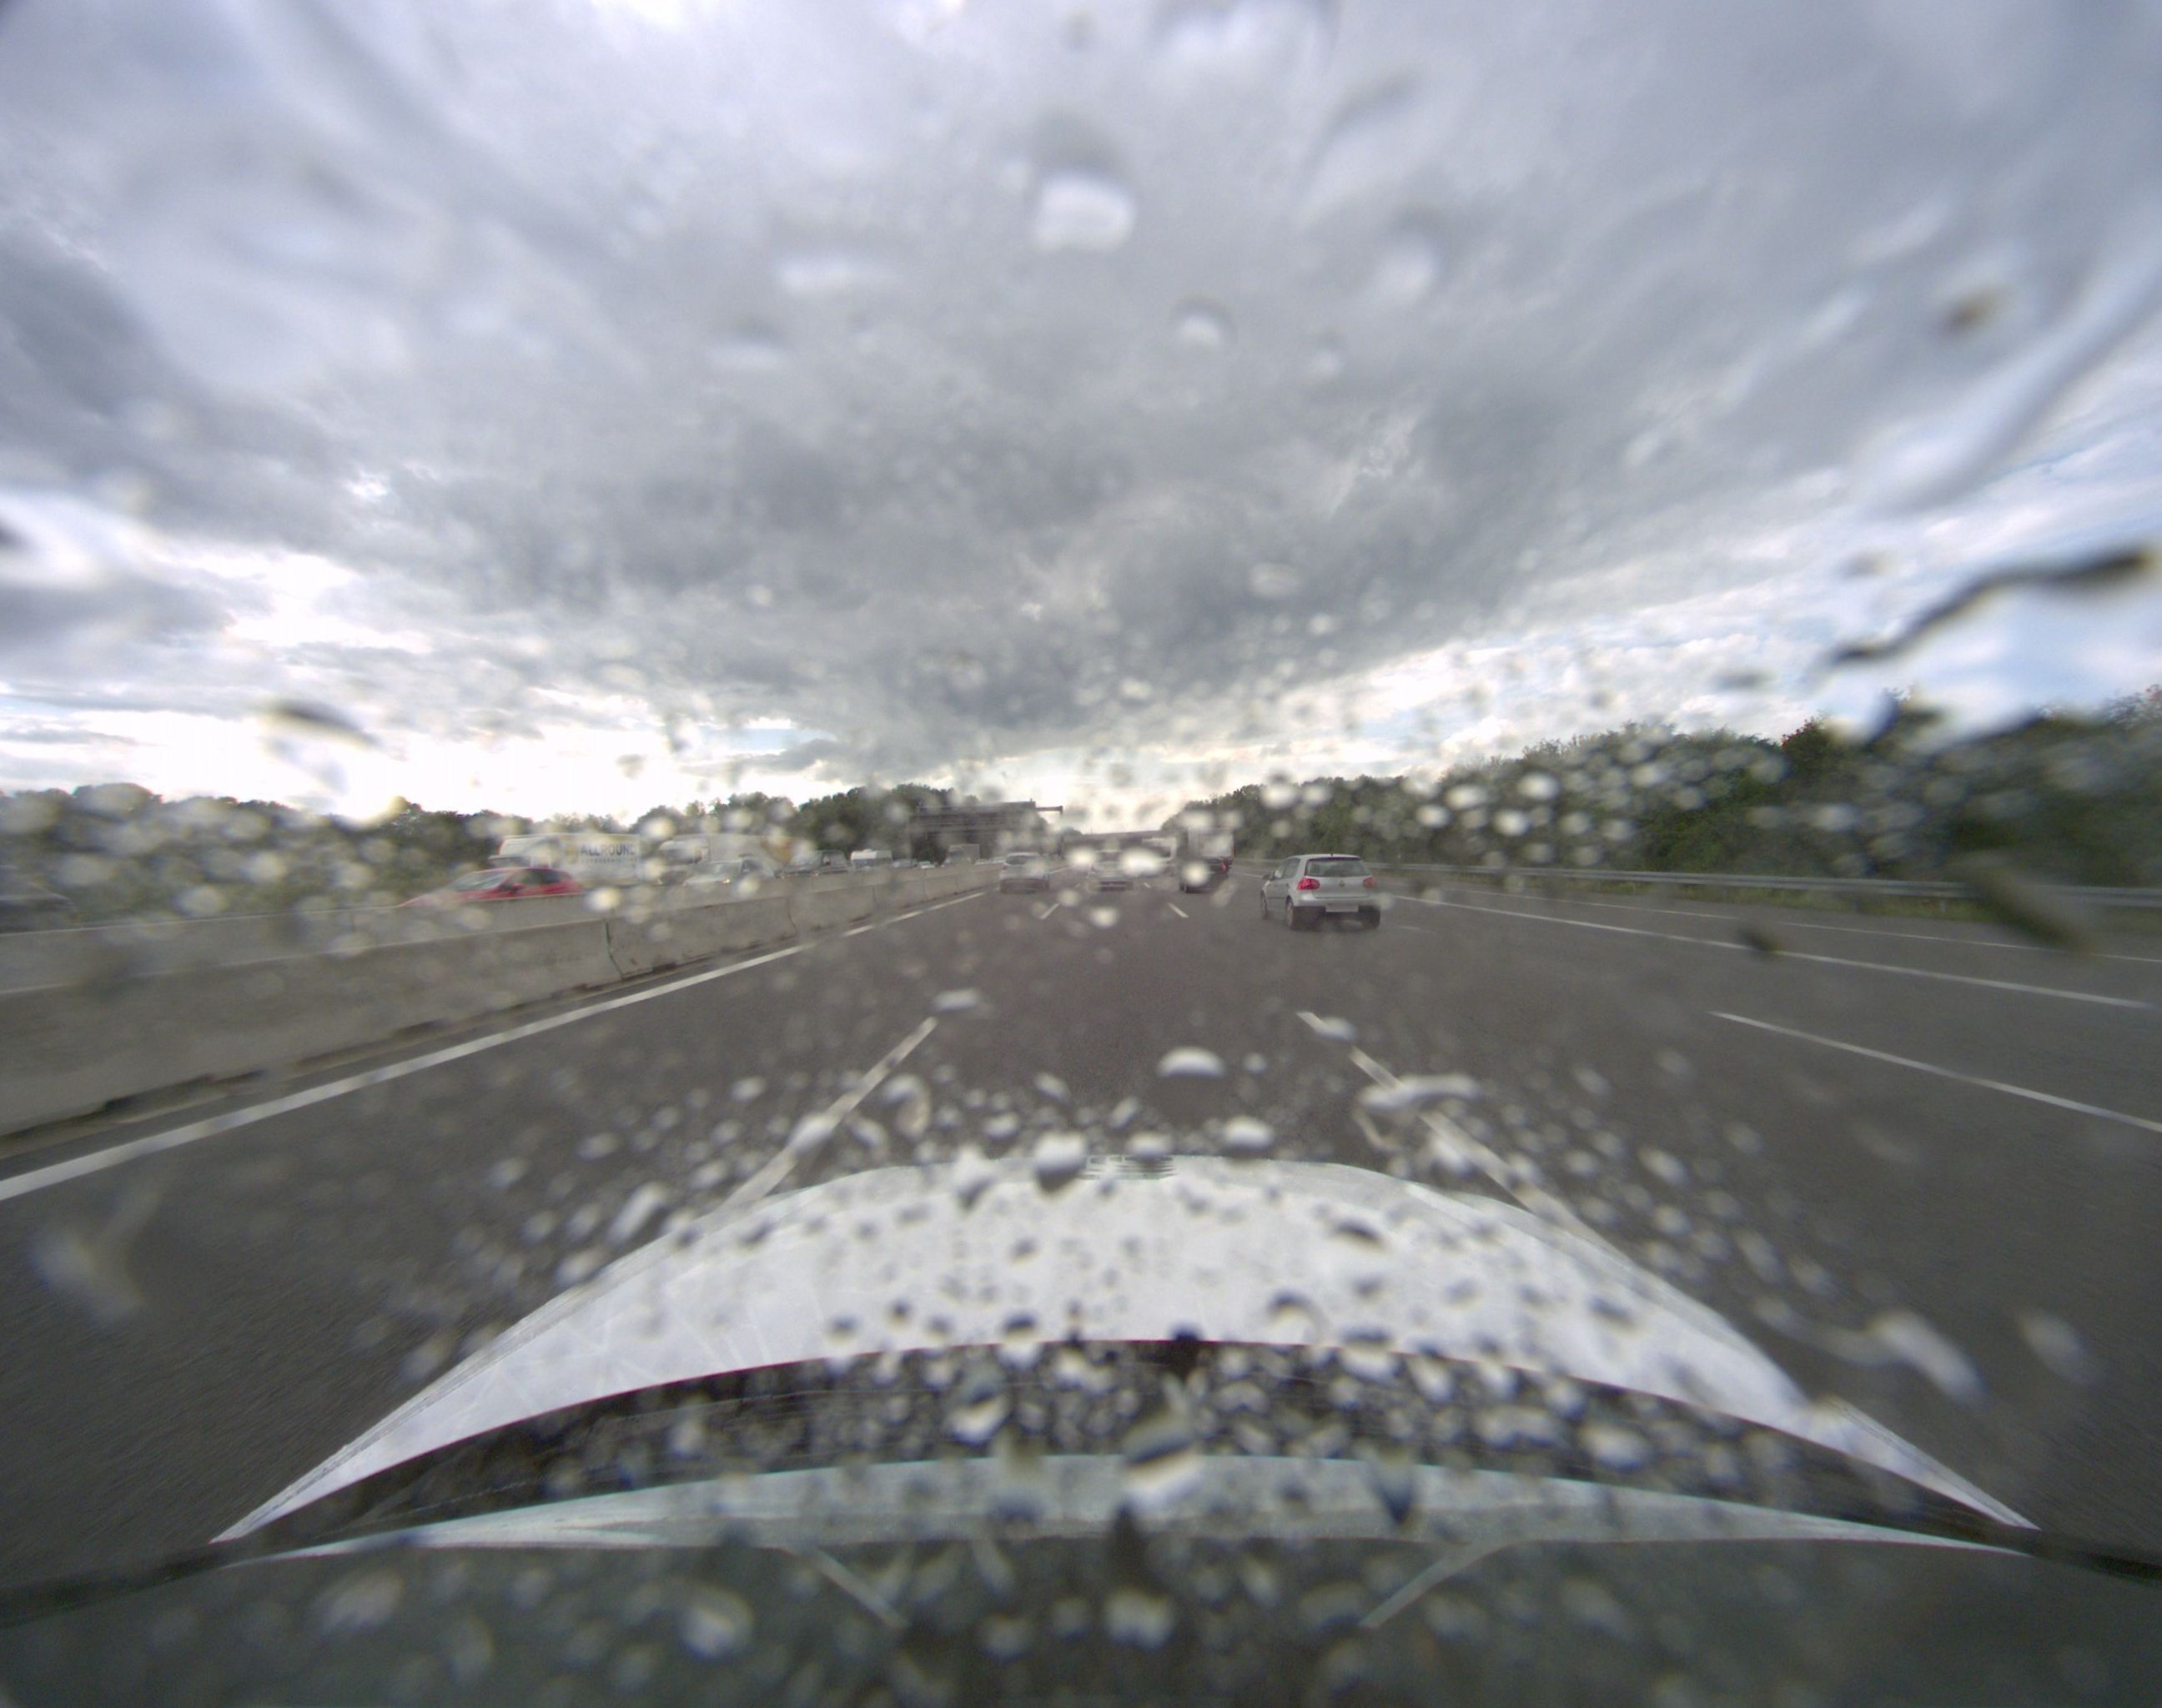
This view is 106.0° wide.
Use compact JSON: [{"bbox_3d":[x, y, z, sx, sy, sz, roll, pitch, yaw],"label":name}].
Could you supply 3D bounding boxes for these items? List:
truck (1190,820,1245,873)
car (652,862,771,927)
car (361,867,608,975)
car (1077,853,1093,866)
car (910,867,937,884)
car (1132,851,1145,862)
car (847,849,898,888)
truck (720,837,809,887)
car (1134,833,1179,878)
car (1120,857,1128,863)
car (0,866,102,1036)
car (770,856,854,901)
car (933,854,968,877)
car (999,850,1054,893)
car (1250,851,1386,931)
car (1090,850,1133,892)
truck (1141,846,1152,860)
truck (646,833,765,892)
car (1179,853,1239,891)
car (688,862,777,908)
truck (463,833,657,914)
[{"bbox_3d":[10.335,-0.532,62.691,3.119,3.709,9.857,-1,0,4],"label":"truck"},{"bbox_3d":[-12.815,1.333,28.564,1.986,2.013,4.427,-1,0,2],"label":"car"},{"bbox_3d":[-13.141,1.368,18.416,1.986,2.013,4.689,-1,0,2],"label":"car"},{"bbox_3d":[0.500,0.672,100.354,1.773,1.481,4.356,-1,0,3],"label":"car"},{"bbox_3d":[-17.863,2.423,92.608,1.986,1.714,4.701,-1,0,2],"label":"car"},{"bbox_3d":[9.489,0.420,134.668,2.035,1.823,4.908,-1,0,3],"label":"car"},{"bbox_3d":[-18.564,1.208,72.935,2.651,3.277,6.564,-1,0,1],"label":"car"},{"bbox_3d":[-24.938,0.582,64.916,2.866,3.612,9.588,-1,0,3],"label":"truck"},{"bbox_3d":[5.164,0.122,56.804,2.557,2.895,7.536,-1,0,2],"label":"car"},{"bbox_3d":[11.413,1.606,216.455,1.875,1.686,3.999,-1,0,0],"label":"car"},{"bbox_3d":[-13.288,1.126,7.910,1.986,1.904,4.506,-1,0,2],"label":"car"},{"bbox_3d":[-12.949,1.104,39.606,1.986,2.013,5.760,-1,0,2],"label":"car"},{"bbox_3d":[-10.766,0.916,67.533,1.986,1.781,4.675,-1,0,2],"label":"car"},{"bbox_3d":[-2.270,0.700,35.134,1.808,1.689,4.854,-2,0,2],"label":"car"},{"bbox_3d":[4.840,0.693,17.226,1.788,1.477,4.039,-1,0,2],"label":"car"},{"bbox_3d":[1.317,0.721,36.324,1.774,1.716,4.354,-1,0,1],"label":"car"},{"bbox_3d":[18.389,-0.404,229.454,2.894,3.810,7.280,-1,0,3],"label":"truck"},{"bbox_3d":[-25.430,0.555,55.896,2.866,3.612,10.319,-1,0,3],"label":"truck"},{"bbox_3d":[5.087,0.689,32.876,1.878,1.407,4.284,-1,0,1],"label":"car"},{"bbox_3d":[-16.565,1.425,39.034,1.986,2.013,4.816,-1,0,2],"label":"car"},{"bbox_3d":[-24.066,0.807,38.457,2.899,3.290,9.206,-1,0,2],"label":"truck"}]
